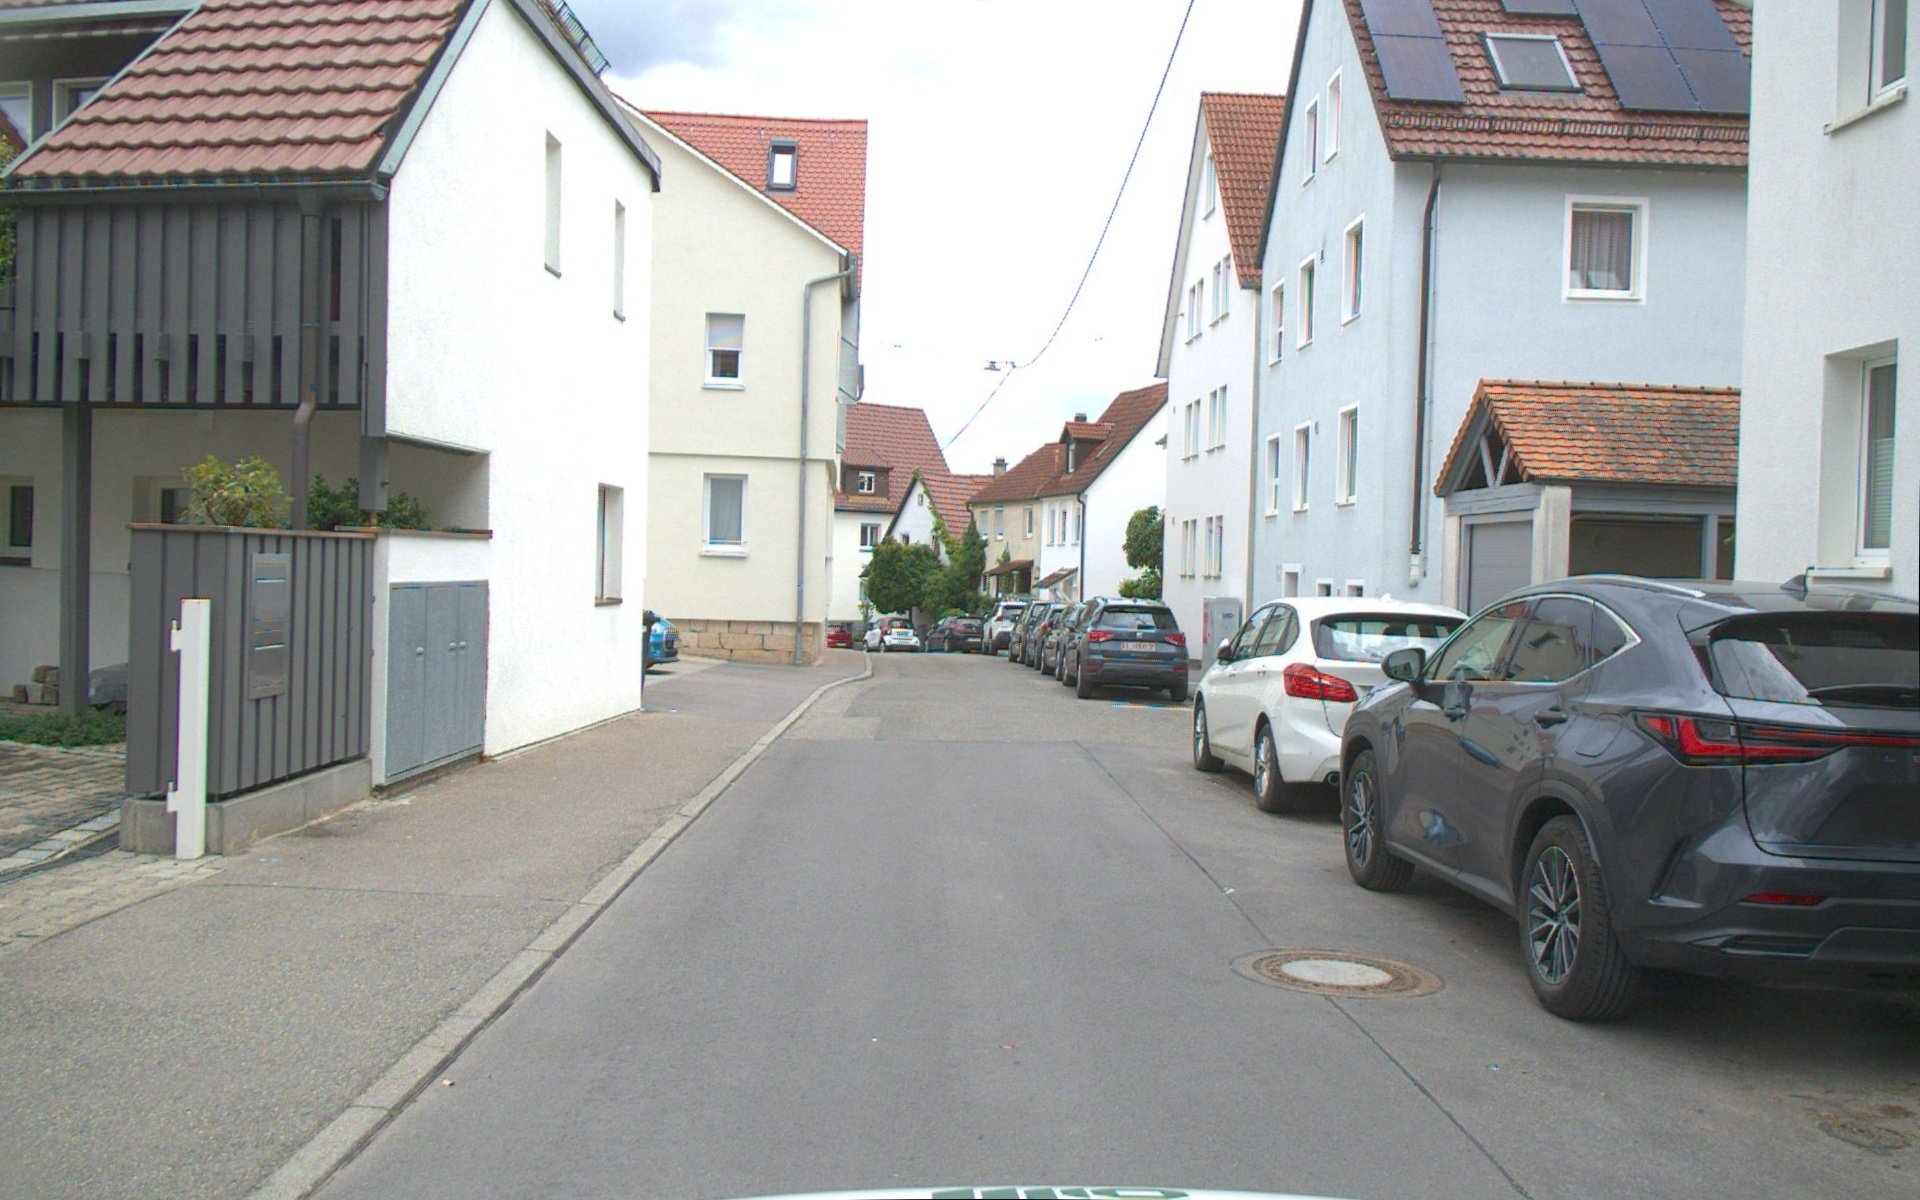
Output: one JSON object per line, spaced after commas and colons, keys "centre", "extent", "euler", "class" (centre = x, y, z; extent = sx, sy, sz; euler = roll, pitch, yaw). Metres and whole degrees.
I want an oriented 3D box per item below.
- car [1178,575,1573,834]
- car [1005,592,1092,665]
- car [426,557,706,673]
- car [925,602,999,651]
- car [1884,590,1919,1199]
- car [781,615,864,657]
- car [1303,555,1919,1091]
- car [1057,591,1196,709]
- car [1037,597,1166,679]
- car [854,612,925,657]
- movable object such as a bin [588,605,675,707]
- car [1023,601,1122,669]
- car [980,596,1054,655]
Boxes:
{"centre": [3.112, 0.681, 13.540], "extent": [1.953, 1.643, 4.879], "euler": [3, 0, 0], "class": "car"}
{"centre": [2.195, 0.724, 41.980], "extent": [1.702, 1.638, 3.997], "euler": [4, -1, -3], "class": "car"}
{"centre": [-5.990, 0.242, 25.505], "extent": [3.653, 1.436, 2.121], "euler": [4, -1, 3], "class": "car"}
{"centre": [0.053, 1.028, 62.701], "extent": [1.959, 1.743, 3.986], "euler": [1, -2, -13], "class": "car"}
{"centre": [3.269, 0.797, 1.676], "extent": [1.908, 1.534, 4.820], "euler": [2, 0, 0], "class": "car"}
{"centre": [-6.408, 1.679, 76.860], "extent": [1.979, 1.713, 3.949], "euler": [-5, 0, -36], "class": "car"}
{"centre": [3.094, 0.707, 7.654], "extent": [1.825, 1.662, 4.899], "euler": [2, 0, -2], "class": "car"}
{"centre": [2.592, 0.727, 26.702], "extent": [1.718, 1.656, 4.535], "euler": [3, 0, 0], "class": "car"}
{"centre": [2.604, 0.677, 31.430], "extent": [1.880, 1.434, 4.654], "euler": [0, 0, -2], "class": "car"}
{"centre": [-3.096, 1.474, 71.560], "extent": [1.934, 1.743, 3.977], "euler": [2, 0, -20], "class": "car"}
{"centre": [-3.733, 0.631, 18.836], "extent": [0.602, 1.094, 0.752], "euler": [4, 0, 20], "class": "movable object such as a bin"}
{"centre": [2.438, 0.769, 36.647], "extent": [1.760, 1.376, 4.073], "euler": [2, -1, -2], "class": "car"}
{"centre": [1.742, 0.802, 52.004], "extent": [1.836, 1.743, 4.144], "euler": [1, -1, -4], "class": "car"}
